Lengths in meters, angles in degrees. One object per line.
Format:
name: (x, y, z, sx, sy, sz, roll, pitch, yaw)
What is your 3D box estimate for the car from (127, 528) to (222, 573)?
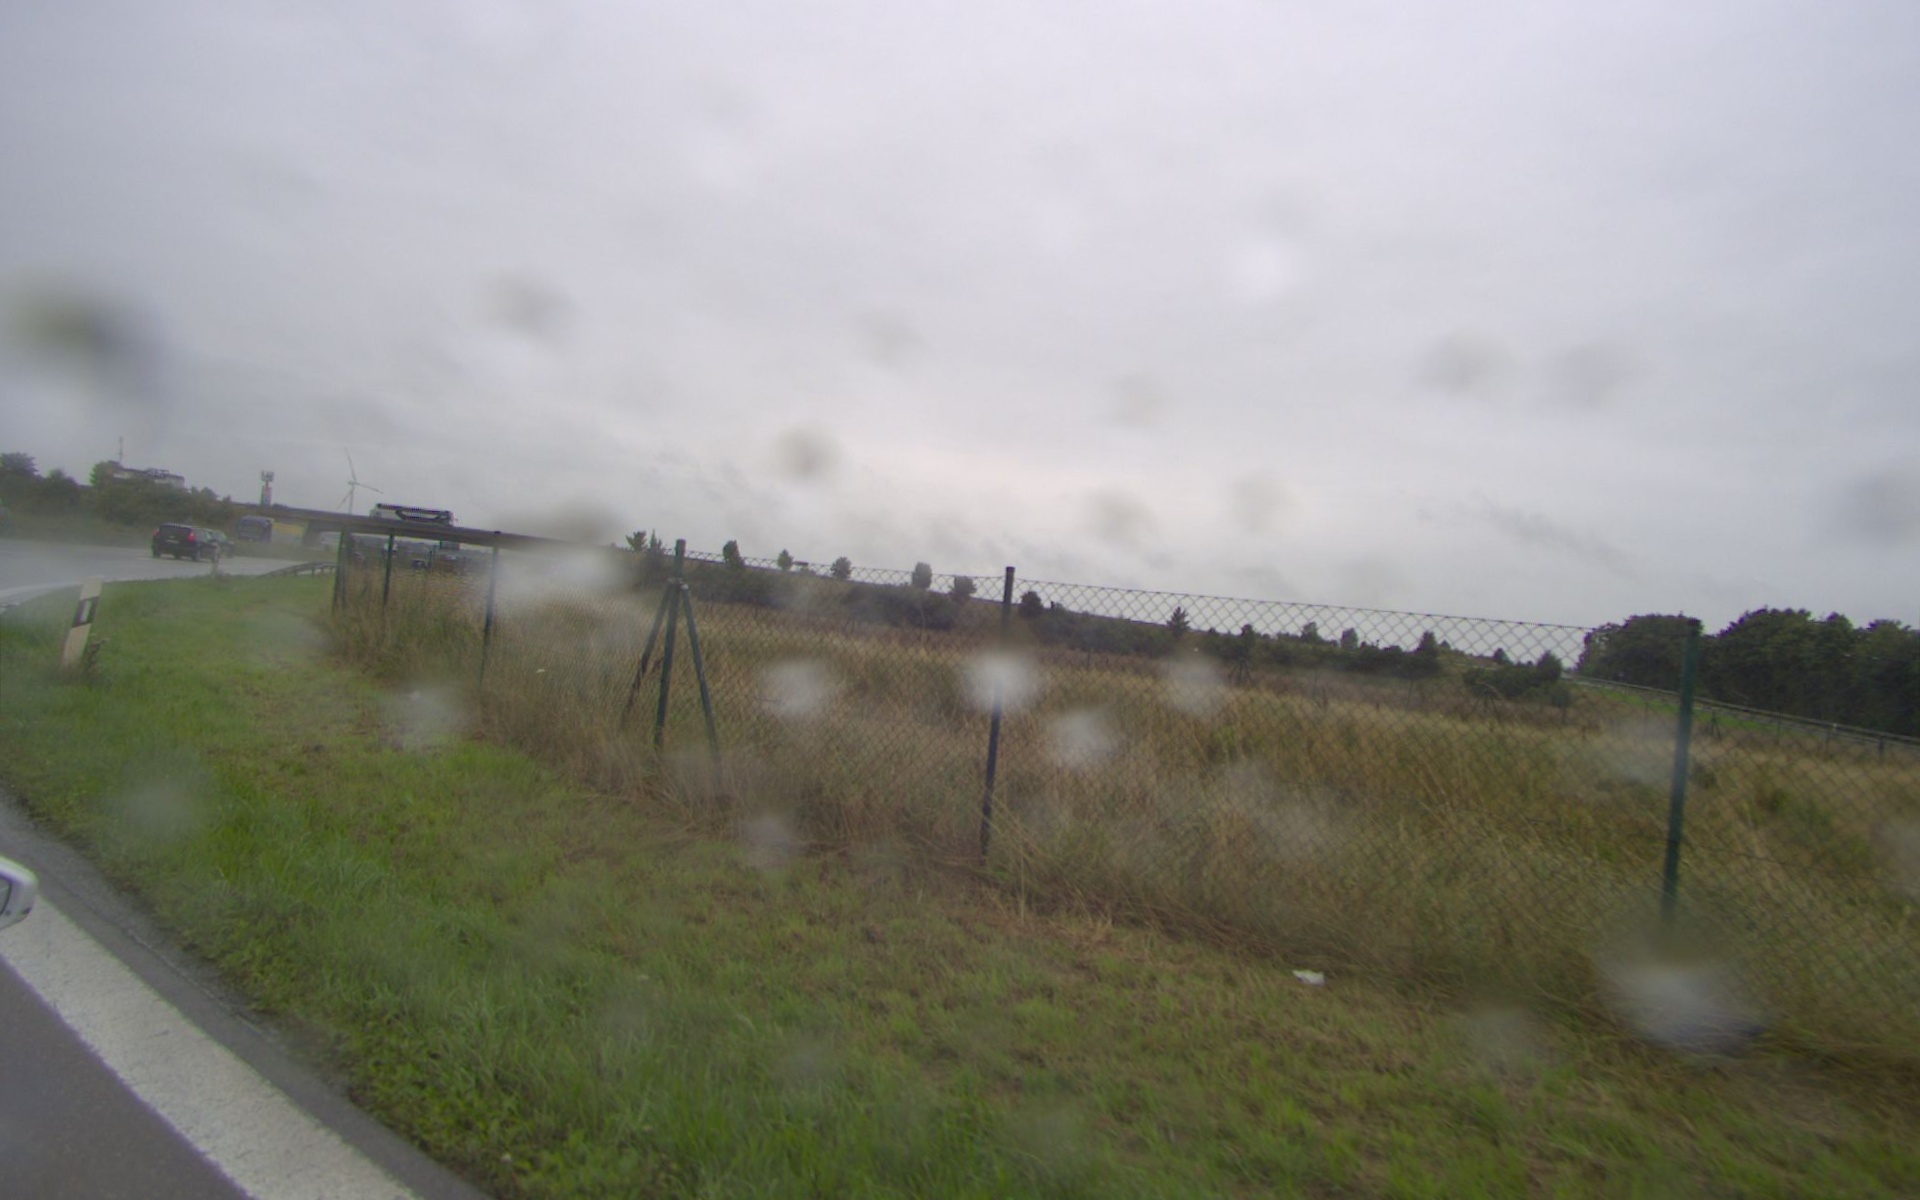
car: (-37.078, -2.292, 47.635, 2.124, 1.654, 4.575, 8, -3, -21)

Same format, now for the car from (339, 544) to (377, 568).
car: (-53.360, -3.864, 89.172, 2.032, 1.655, 4.330, 8, -2, -21)

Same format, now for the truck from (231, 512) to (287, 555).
truck: (-79.146, -7.406, 113.704, 3.163, 4.011, 6.632, 9, -2, -21)

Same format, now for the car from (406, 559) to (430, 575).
car: (-66.666, -4.088, 123.791, 1.971, 1.720, 3.979, 5, 2, -21)
